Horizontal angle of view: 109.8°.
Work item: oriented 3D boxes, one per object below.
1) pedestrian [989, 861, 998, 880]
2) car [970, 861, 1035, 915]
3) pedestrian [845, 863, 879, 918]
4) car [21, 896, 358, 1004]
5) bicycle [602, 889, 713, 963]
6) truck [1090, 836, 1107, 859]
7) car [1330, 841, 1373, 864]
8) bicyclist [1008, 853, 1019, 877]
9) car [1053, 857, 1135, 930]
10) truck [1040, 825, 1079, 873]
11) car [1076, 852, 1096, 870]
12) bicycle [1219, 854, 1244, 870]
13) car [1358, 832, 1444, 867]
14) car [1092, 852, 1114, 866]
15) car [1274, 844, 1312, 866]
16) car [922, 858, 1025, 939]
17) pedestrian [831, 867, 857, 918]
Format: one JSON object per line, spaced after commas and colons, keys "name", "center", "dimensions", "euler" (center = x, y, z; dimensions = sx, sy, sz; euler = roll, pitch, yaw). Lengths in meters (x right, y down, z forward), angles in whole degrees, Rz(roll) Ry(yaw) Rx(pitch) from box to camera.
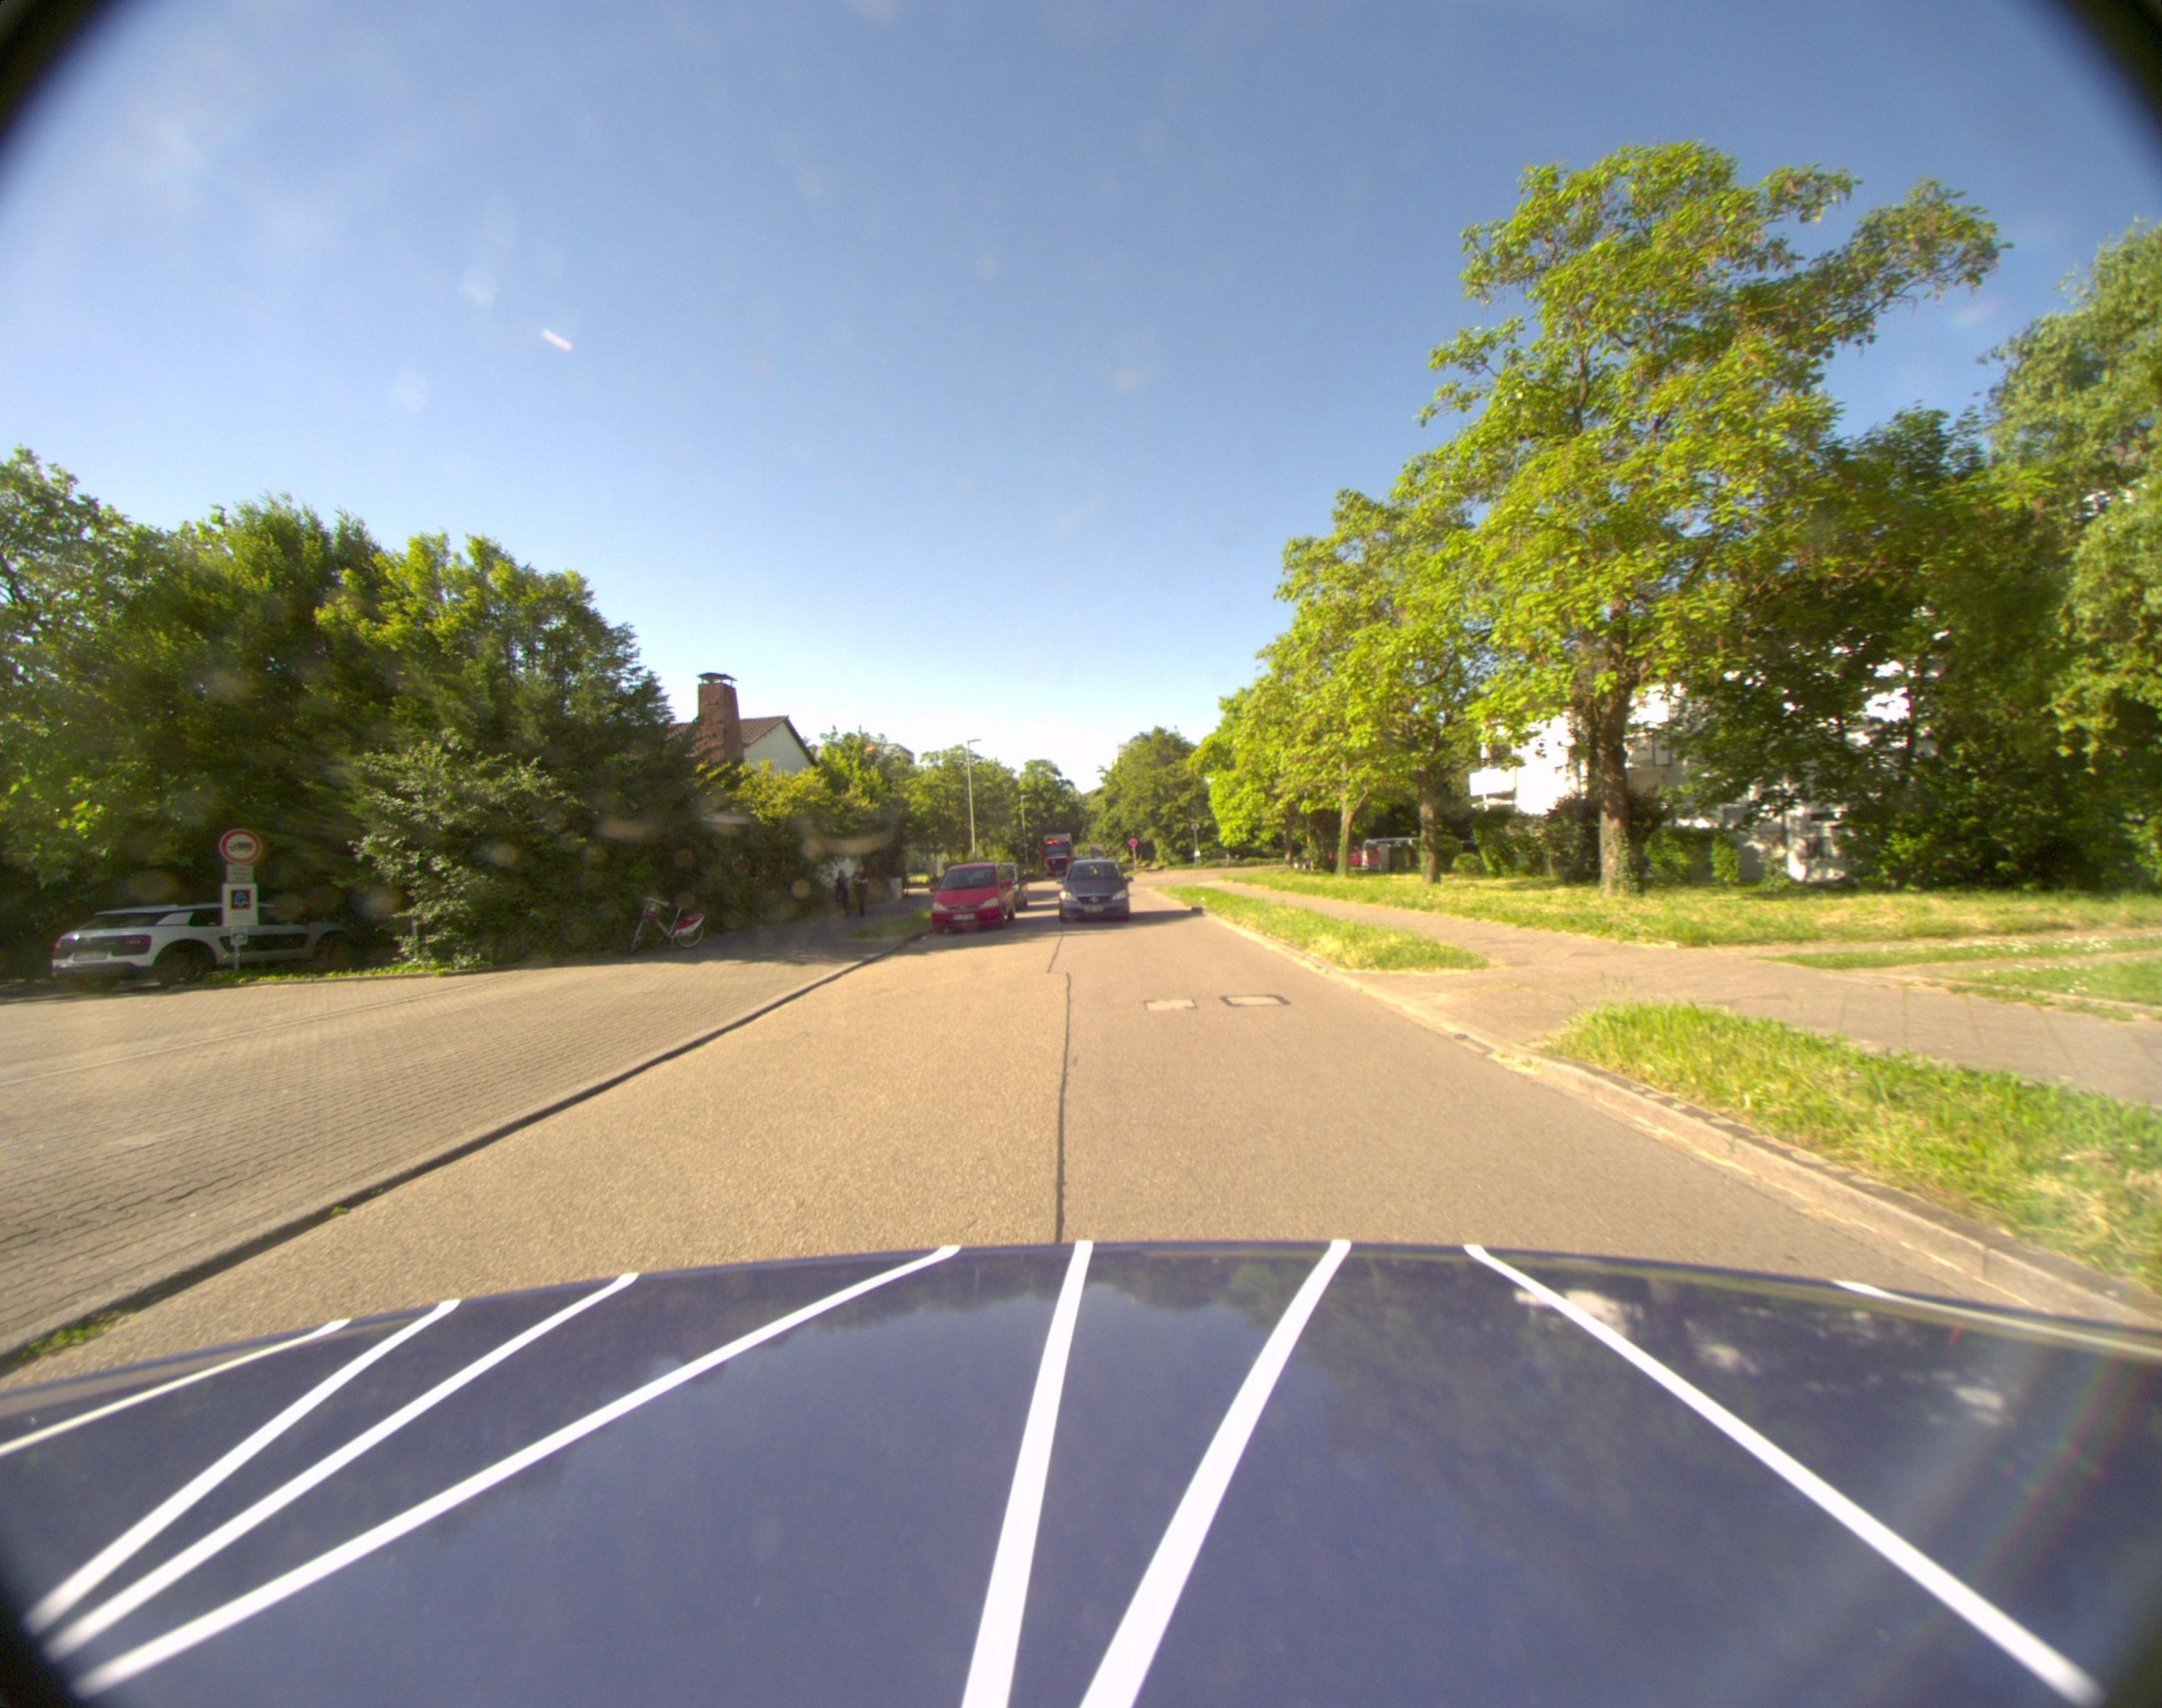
{"name": "pedestrian", "center": [-7.396, 1.393, 64.225], "dimensions": [0.641, 1.629, 0.641], "euler": [-3, 1, 3]}
{"name": "car", "center": [-2.710, 1.132, 27.120], "dimensions": [1.729, 1.646, 4.353], "euler": [-3, 0, 0]}
{"name": "pedestrian", "center": [-7.113, 1.157, 24.690], "dimensions": [0.806, 1.707, 0.983], "euler": [-2, 2, -3]}
{"name": "car", "center": [-16.433, 1.685, 14.364], "dimensions": [1.777, 1.494, 3.802], "euler": [-3, 0, 1]}
{"name": "bicycle", "center": [-8.225, 1.363, 14.863], "dimensions": [0.721, 1.214, 1.898], "euler": [-1, 2, 17]}
{"name": "truck", "center": [3.166, -1.260, 139.760], "dimensions": [2.803, 3.996, 9.624], "euler": [-1, 1, 1]}
{"name": "car", "center": [20.016, -0.130, 56.374], "dimensions": [1.674, 1.479, 3.884], "euler": [-3, 2, 0]}
{"name": "bicyclist", "center": [-5.727, 0.895, 64.236], "dimensions": [0.753, 2.002, 0.711], "euler": [-3, 0, -1]}
{"name": "car", "center": [0.315, 0.934, 19.792], "dimensions": [1.855, 1.635, 3.756], "euler": [-3, 0, 0]}
{"name": "truck", "center": [-1.988, -0.489, 75.643], "dimensions": [3.166, 4.319, 10.583], "euler": [-3, 0, 1]}
{"name": "car", "center": [0.505, 0.725, 83.803], "dimensions": [1.845, 1.795, 4.027], "euler": [-4, 1, -4]}
{"name": "bicycle", "center": [12.170, 0.620, 61.442], "dimensions": [1.902, 1.146, 0.760], "euler": [-3, 4, 11]}
{"name": "car", "center": [19.995, -0.260, 47.623], "dimensions": [4.461, 1.957, 2.069], "euler": [-3, -1, 3]}
{"name": "car", "center": [2.472, 0.517, 85.968], "dimensions": [1.667, 1.458, 4.184], "euler": [-2, 1, -9]}
{"name": "car", "center": [15.787, 0.053, 56.698], "dimensions": [1.674, 1.479, 3.884], "euler": [-3, 2, 0]}
{"name": "car", "center": [-2.711, 1.062, 20.244], "dimensions": [1.844, 1.795, 4.654], "euler": [-3, 0, 2]}
{"name": "pedestrian", "center": [-7.729, 1.255, 24.814], "dimensions": [0.574, 1.600, 0.792], "euler": [-2, 2, -3]}
